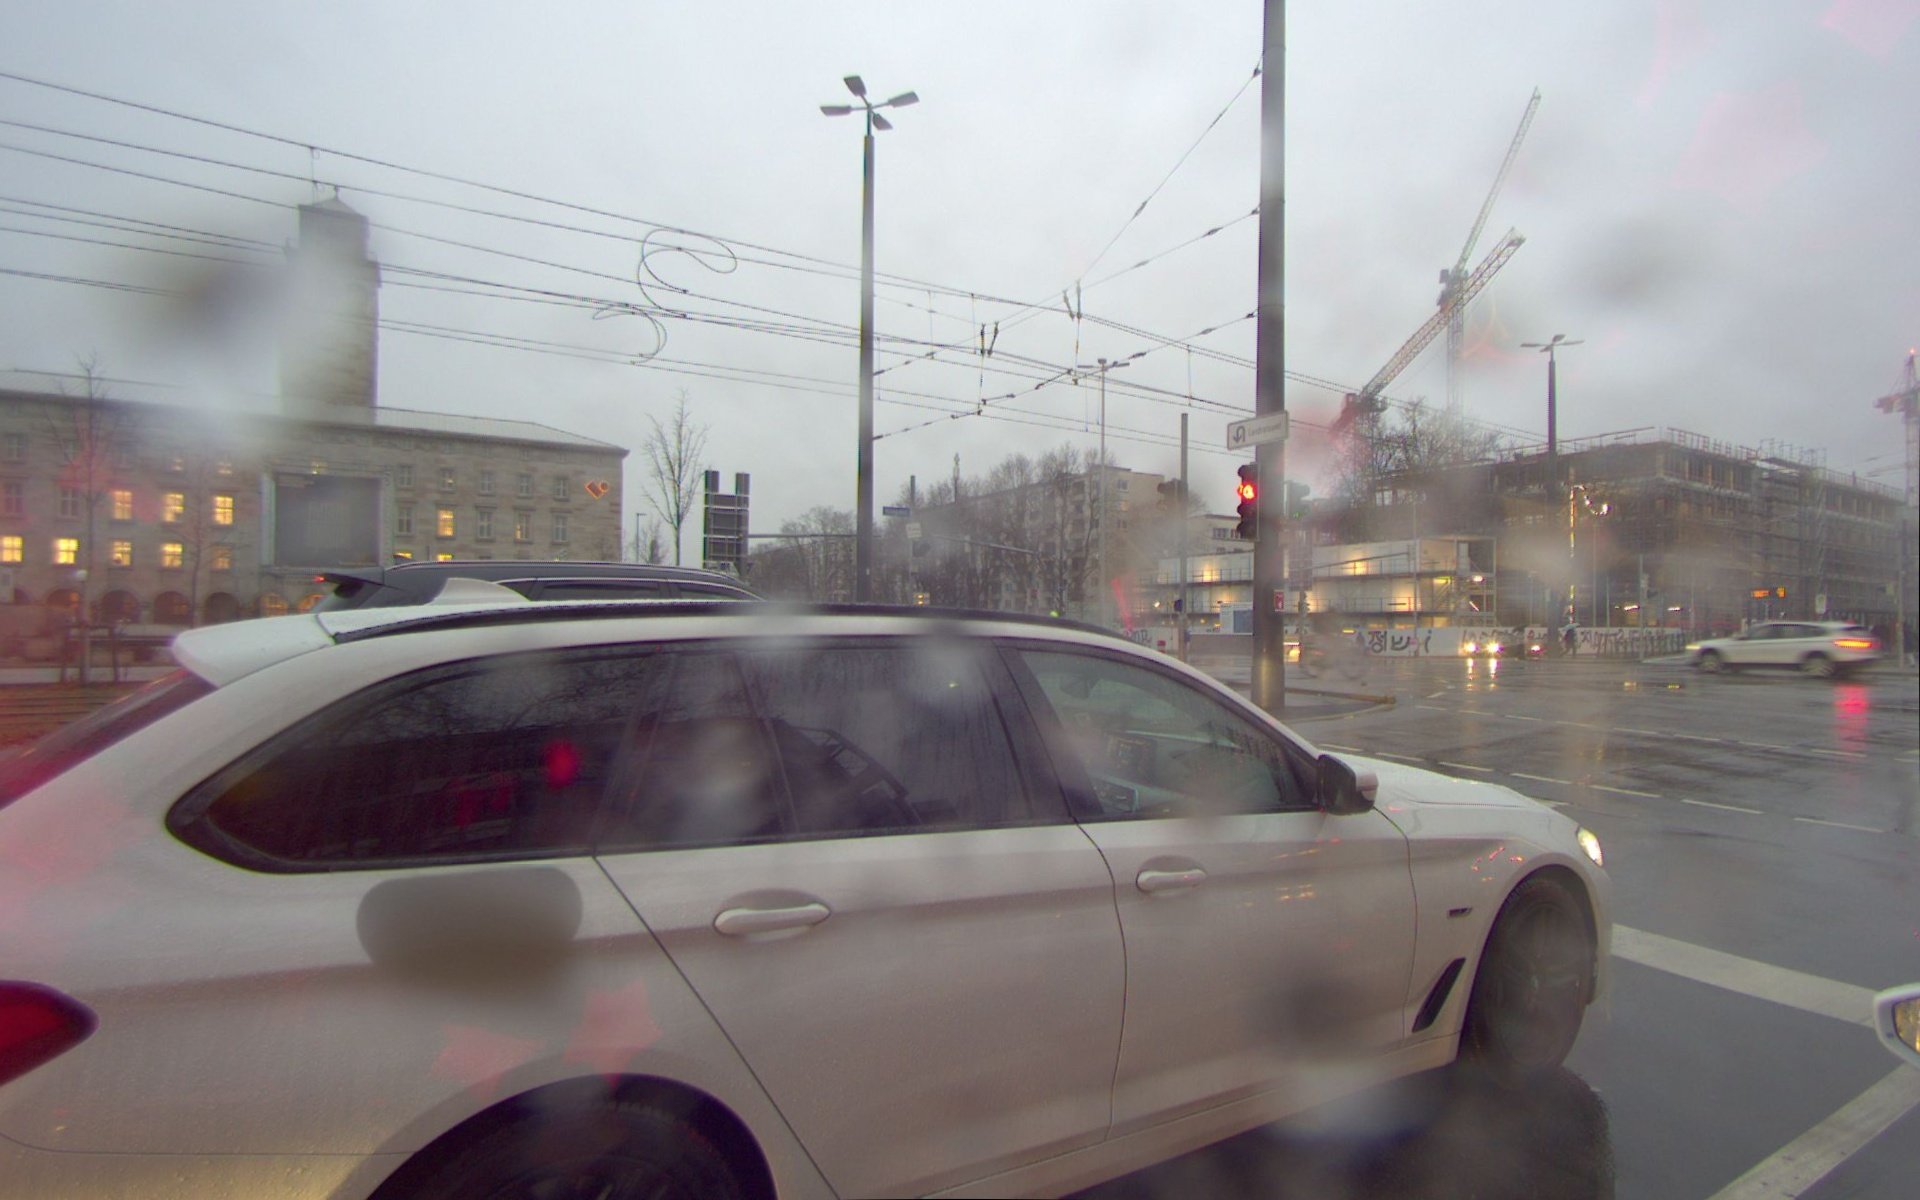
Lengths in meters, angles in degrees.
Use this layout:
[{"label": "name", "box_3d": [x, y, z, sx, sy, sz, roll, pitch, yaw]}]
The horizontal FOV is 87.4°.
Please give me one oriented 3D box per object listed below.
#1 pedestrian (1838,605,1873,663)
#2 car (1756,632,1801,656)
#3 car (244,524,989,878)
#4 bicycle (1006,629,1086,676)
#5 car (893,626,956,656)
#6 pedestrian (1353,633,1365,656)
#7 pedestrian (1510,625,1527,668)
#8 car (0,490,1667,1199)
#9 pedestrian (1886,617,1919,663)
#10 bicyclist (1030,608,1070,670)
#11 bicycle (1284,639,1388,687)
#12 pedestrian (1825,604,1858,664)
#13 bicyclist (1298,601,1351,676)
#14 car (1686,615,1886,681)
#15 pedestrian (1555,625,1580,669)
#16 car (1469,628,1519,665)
[{"label": "pedestrian", "box_3d": [32.146, 1.216, 36.051, 0.762, 2.040, 0.613, 0, -1, 22]}, {"label": "car", "box_3d": [70.458, 3.766, 86.464, 3.958, 2.040, 1.981, 2, -2, -34]}, {"label": "car", "box_3d": [-2.134, 0.574, 7.015, 4.564, 1.766, 1.692, 2, -2, -34]}, {"label": "bicycle", "box_3d": [2.610, 1.596, 30.807, 0.714, 1.380, 2.809, 2, -3, -38]}, {"label": "car", "box_3d": [-2.120, 2.409, 59.343, 1.978, 1.706, 3.965, 1, -2, -33]}, {"label": "pedestrian", "box_3d": [27.213, 3.060, 68.472, 0.780, 1.549, 0.646, 0, -2, 21]}, {"label": "pedestrian", "box_3d": [26.754, 2.216, 48.115, 0.635, 2.040, 0.503, 2, -2, -40]}, {"label": "car", "box_3d": [-0.107, 0.698, 3.011, 4.868, 1.540, 1.900, 2, -2, -32]}, {"label": "pedestrian", "box_3d": [33.800, 1.436, 35.995, 0.672, 1.640, 0.704, 1, -1, -29]}, {"label": "bicyclist", "box_3d": [2.745, 1.186, 30.669, 0.715, 1.863, 0.986, 2, -2, -39]}, {"label": "bicycle", "box_3d": [8.740, 1.443, 23.459, 0.612, 1.046, 2.356, 2, -2, -36]}, {"label": "pedestrian", "box_3d": [31.279, 1.211, 35.645, 0.674, 2.115, 0.613, 0, -1, 20]}, {"label": "bicyclist", "box_3d": [8.597, 0.909, 23.703, 0.612, 1.719, 1.026, 2, -2, -36]}, {"label": "car", "box_3d": [24.315, 1.374, 29.758, 1.687, 1.785, 4.283, 1, -2, -30]}, {"label": "pedestrian", "box_3d": [28.253, 2.181, 46.708, 0.741, 2.040, 0.785, 2, -2, -40]}, {"label": "car", "box_3d": [31.236, 2.691, 58.680, 1.736, 2.040, 3.980, -1, -2, 41]}]
